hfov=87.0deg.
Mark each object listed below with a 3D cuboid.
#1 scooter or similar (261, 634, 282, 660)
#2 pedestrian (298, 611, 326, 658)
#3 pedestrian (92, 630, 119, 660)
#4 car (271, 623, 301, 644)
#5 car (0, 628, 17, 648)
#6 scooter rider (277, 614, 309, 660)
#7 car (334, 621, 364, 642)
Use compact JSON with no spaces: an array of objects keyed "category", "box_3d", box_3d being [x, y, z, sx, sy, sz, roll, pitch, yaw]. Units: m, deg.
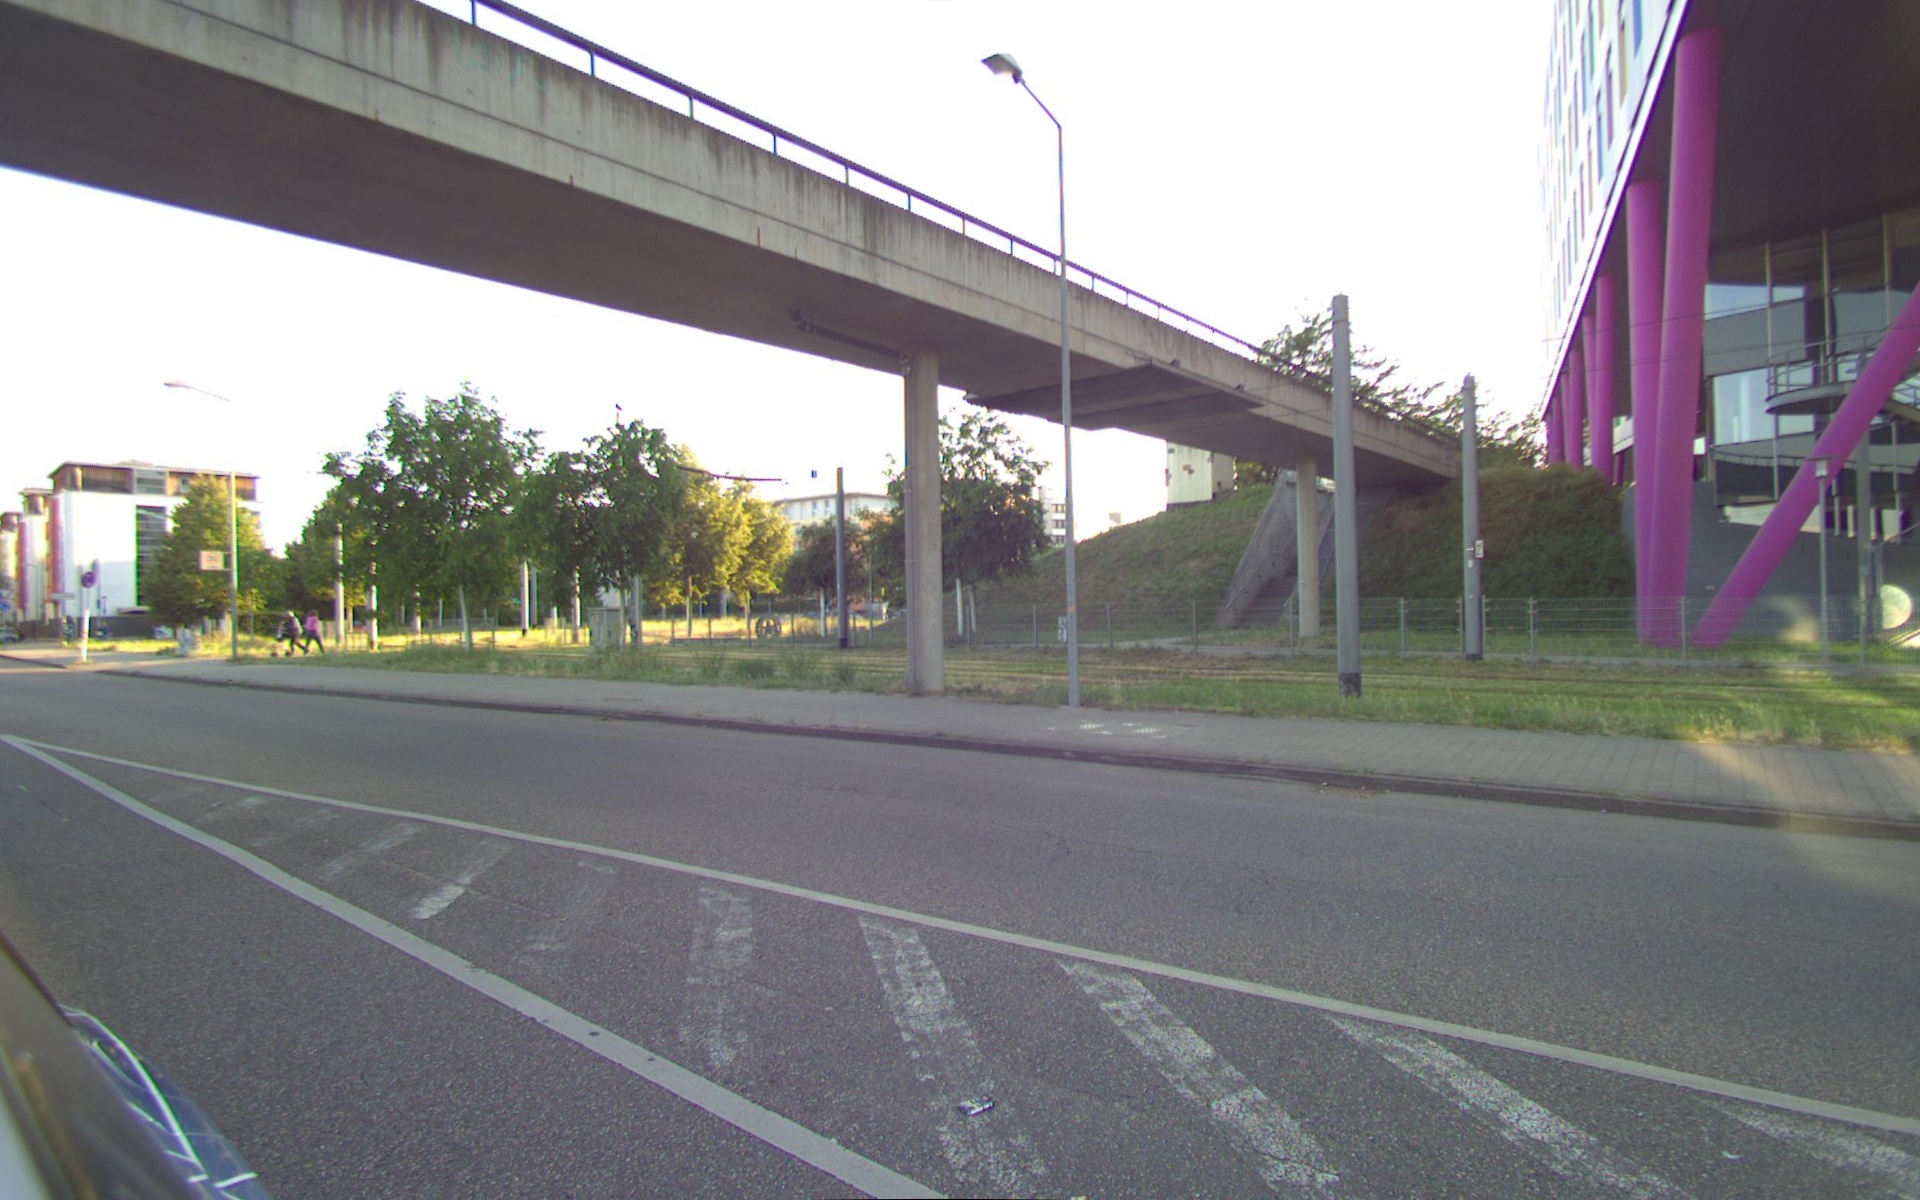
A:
[{"category":"scooter or similar","box_3d":[-24.223,1.640,35.615,0.544,0.902,0.724,1,-1,-40]},{"category":"pedestrian","box_3d":[-22.599,1.194,35.282,0.767,1.623,0.417,-1,-1,-38]},{"category":"pedestrian","box_3d":[-59.793,3.135,70.816,1.072,2.029,1.143,-1,0,-21]},{"category":"car","box_3d":[-57.013,2.801,85.599,1.842,1.734,3.853,-1,-1,-38]},{"category":"car","box_3d":[-80.772,3.162,83.386,1.839,1.571,4.330,-1,0,42]},{"category":"scooter rider","box_3d":[-23.732,1.304,36.022,0.884,1.589,0.713,-1,-1,-39]},{"category":"car","box_3d":[-53.586,2.749,88.763,1.842,1.734,3.852,-1,-1,-38]}]
